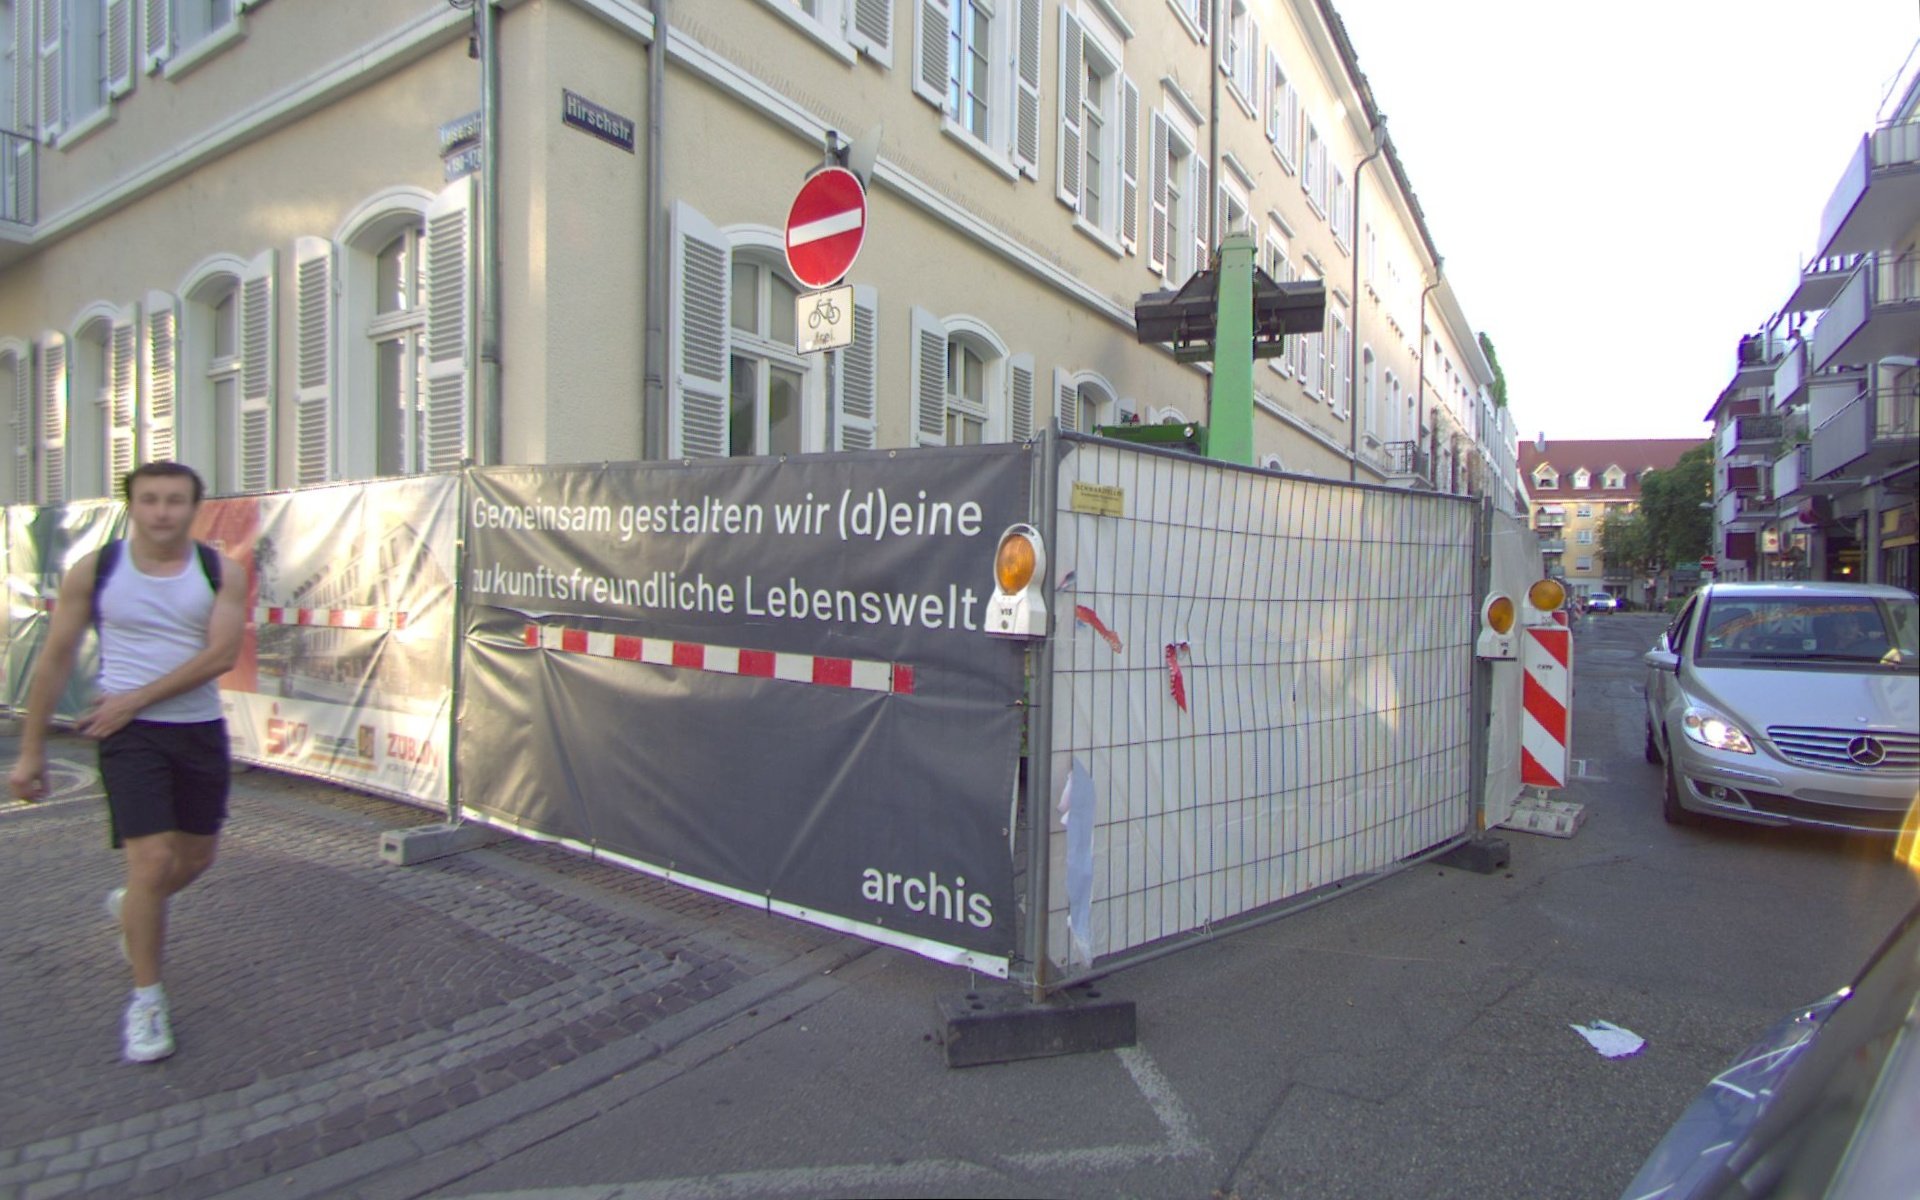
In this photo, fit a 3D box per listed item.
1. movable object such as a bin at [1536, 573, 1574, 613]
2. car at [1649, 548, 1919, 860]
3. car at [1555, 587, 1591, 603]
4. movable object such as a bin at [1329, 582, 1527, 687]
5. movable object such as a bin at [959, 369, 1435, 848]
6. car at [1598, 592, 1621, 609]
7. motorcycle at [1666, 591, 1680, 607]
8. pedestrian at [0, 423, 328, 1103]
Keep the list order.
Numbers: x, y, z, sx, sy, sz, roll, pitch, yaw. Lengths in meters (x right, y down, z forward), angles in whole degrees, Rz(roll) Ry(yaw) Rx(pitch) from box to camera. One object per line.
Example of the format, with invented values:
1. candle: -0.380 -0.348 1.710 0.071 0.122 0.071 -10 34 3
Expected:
1. movable object such as a bin: 41.544 -0.485 70.595 2.007 2.657 5.682 -1 -1 33
2. car: 6.108 0.563 7.204 1.792 1.637 4.223 2 1 32
3. car: 63.382 -0.514 104.693 1.719 1.420 4.236 2 3 10
4. movable object such as a bin: 9.447 0.494 19.926 2.723 1.659 7.468 1 1 31
5. movable object such as a bin: 2.287 -0.011 8.643 2.595 2.874 4.398 2 2 33
6. car: 53.458 0.028 83.300 1.529 1.342 3.315 1 1 32
7. motorcycle: 65.259 -0.086 92.603 0.856 1.370 1.929 1 1 41
8. pedestrian: -2.707 0.414 3.370 1.070 1.842 0.792 3 3 45
